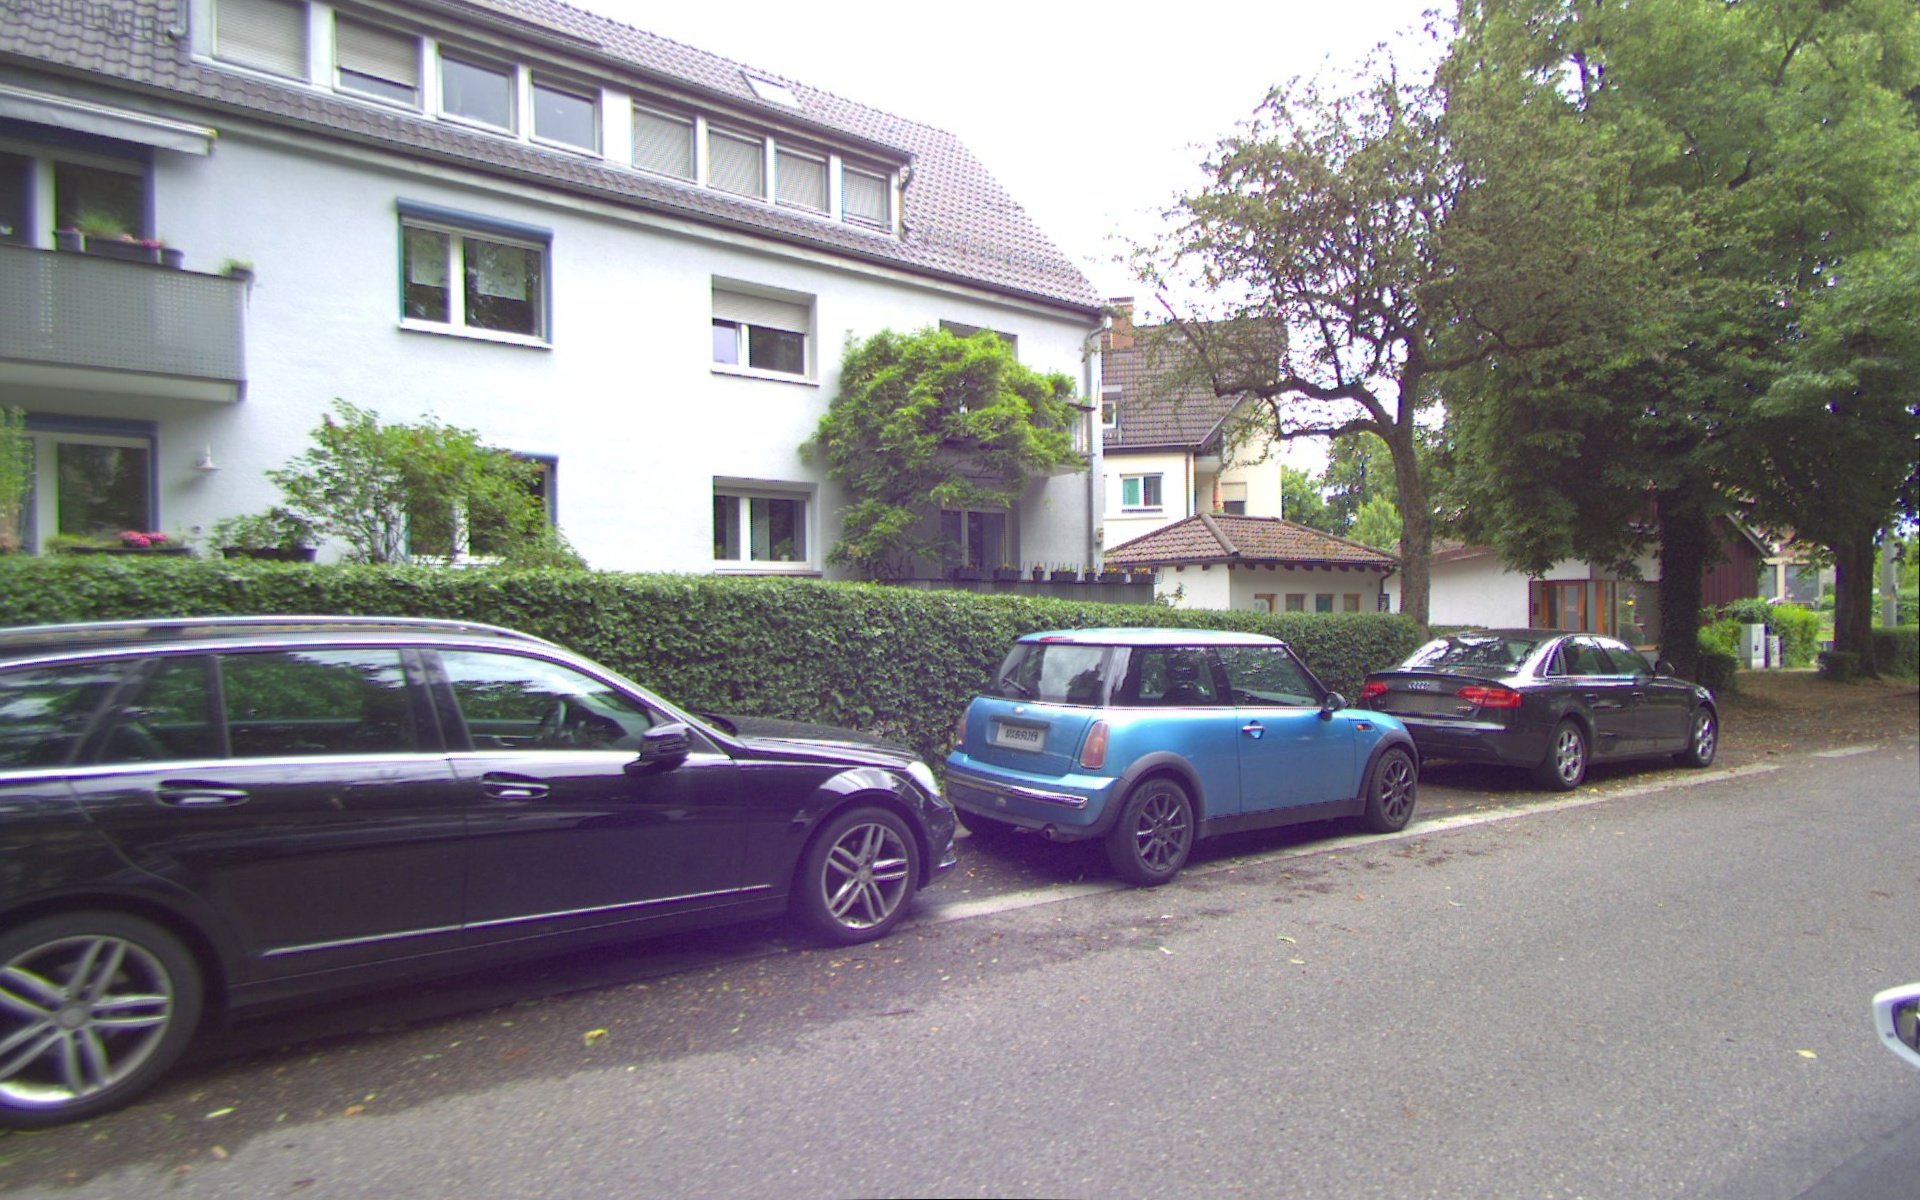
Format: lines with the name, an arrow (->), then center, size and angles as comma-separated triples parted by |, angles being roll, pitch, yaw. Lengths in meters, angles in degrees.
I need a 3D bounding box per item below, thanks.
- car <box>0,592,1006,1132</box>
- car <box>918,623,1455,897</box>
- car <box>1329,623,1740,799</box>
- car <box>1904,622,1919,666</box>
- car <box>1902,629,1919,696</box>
car -> -2.040, 0.768, 4.372 | 4.377, 1.492, 1.781 | 1, -2, -37
car -> 1.679, 0.871, 6.948 | 3.672, 1.410, 1.653 | 1, -2, -37
car -> 5.963, 0.960, 10.233 | 4.596, 1.429, 1.784 | 1, -2, -34
car -> 36.324, 1.589, 35.623 | 1.785, 1.530, 3.955 | -1, 0, -39
car -> 22.532, 1.363, 21.966 | 4.507, 1.429, 1.880 | 2, -2, -34
